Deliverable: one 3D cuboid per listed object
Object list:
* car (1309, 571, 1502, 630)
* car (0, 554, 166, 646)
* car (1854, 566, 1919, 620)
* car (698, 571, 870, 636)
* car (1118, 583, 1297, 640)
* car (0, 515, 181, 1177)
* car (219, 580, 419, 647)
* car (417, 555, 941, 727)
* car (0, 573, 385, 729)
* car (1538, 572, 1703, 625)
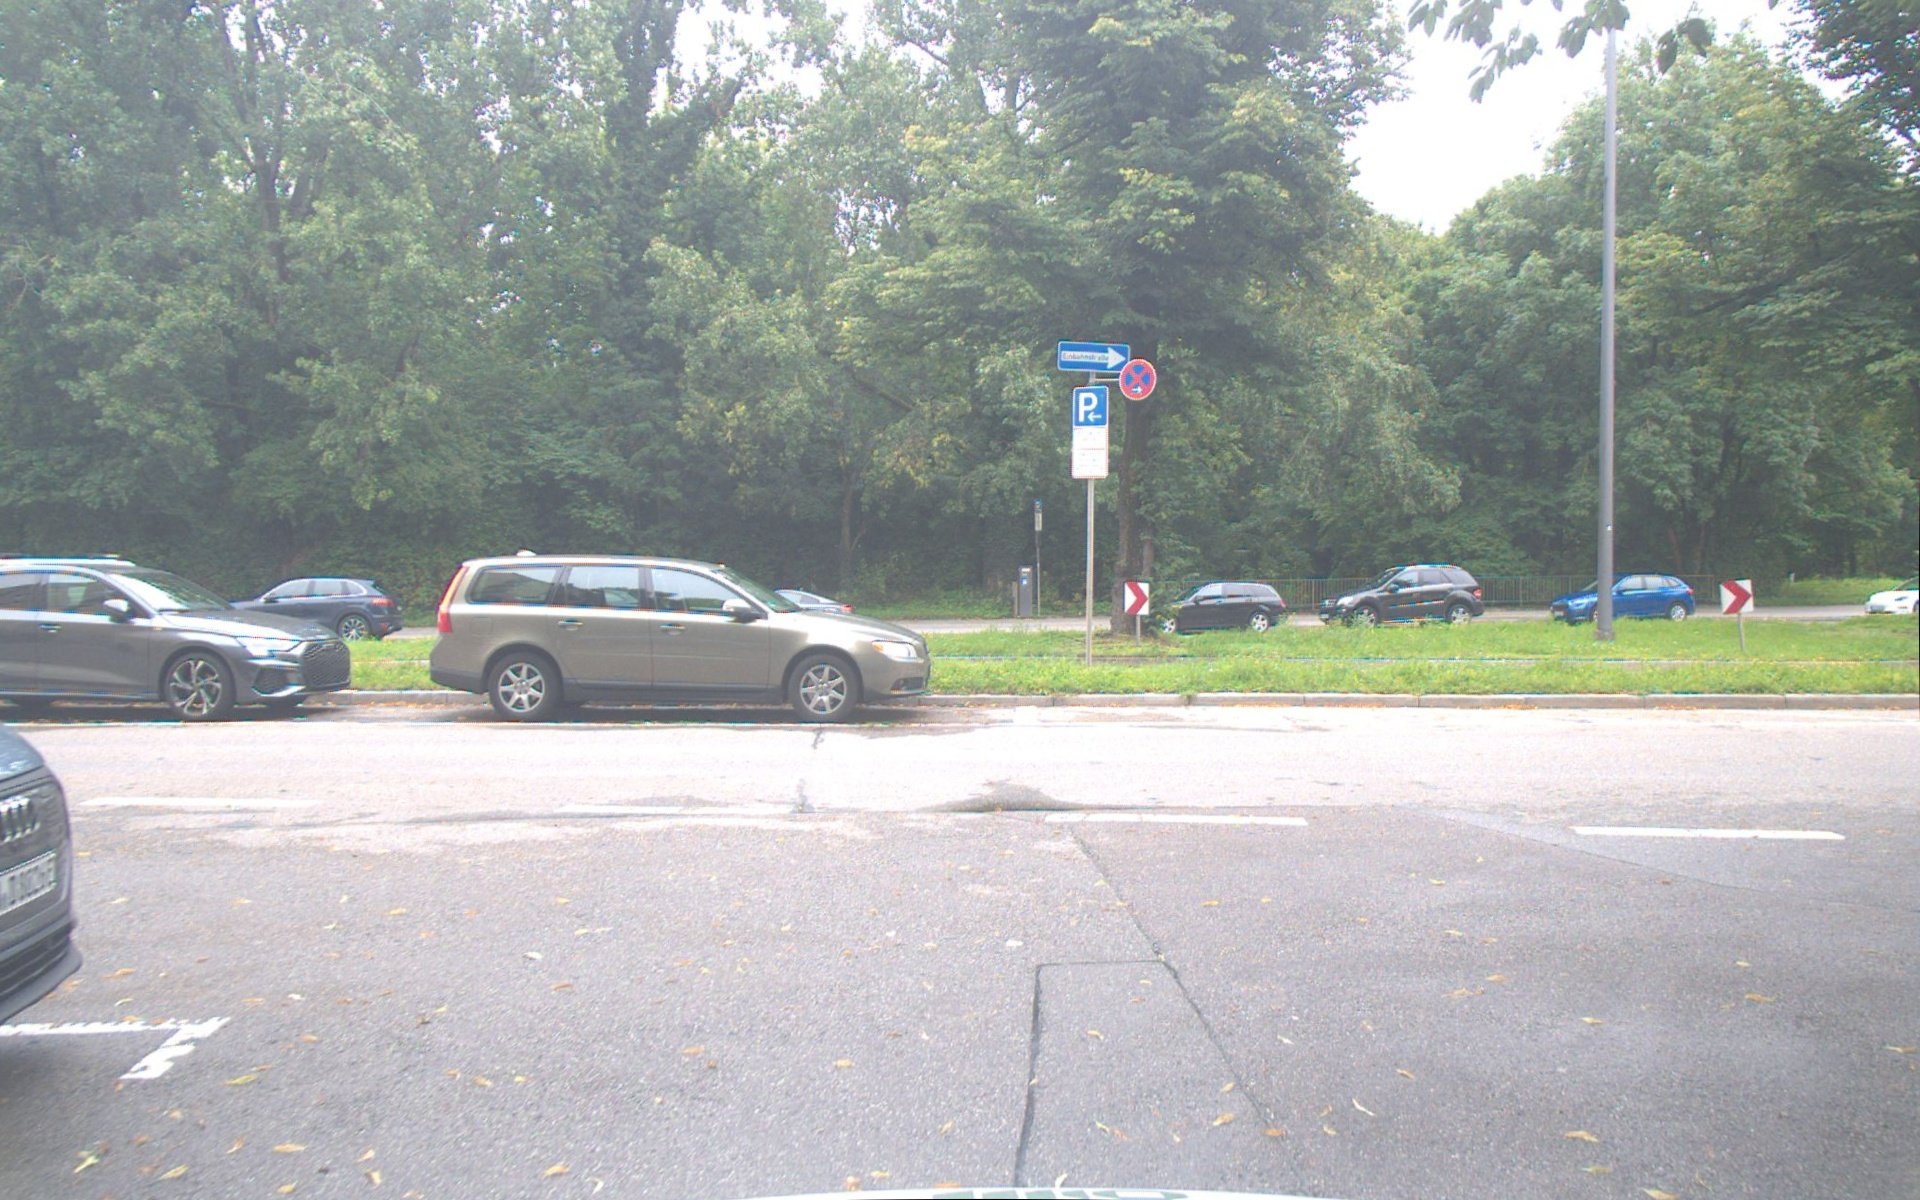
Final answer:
[{"bbox_3d":[12.597,-0.005,46.828,4.943,1.593,1.993,0,0,-14],"label":"car"},{"bbox_3d":[-17.890,0.000,31.689,4.422,1.697,1.928,0,0,-10],"label":"car"},{"bbox_3d":[30.368,-0.235,51.456,4.428,1.606,1.924,0,0,-15],"label":"car"},{"bbox_3d":[-4.585,0.075,43.133,4.350,1.606,1.929,0,0,-8],"label":"car"},{"bbox_3d":[6.813,0.295,45.669,4.503,1.497,1.925,0,0,-14],"label":"car"},{"bbox_3d":[-4.427,0.622,4.136,4.081,1.629,1.734,-1,2,-6],"label":"car"},{"bbox_3d":[-16.023,0.312,41.560,4.353,1.606,1.928,0,0,-10],"label":"car"},{"bbox_3d":[-2.561,0.361,15.932,4.703,1.522,1.842,0,1,0],"label":"car"},{"bbox_3d":[-7.979,0.459,15.887,4.256,1.404,1.771,0,0,3],"label":"car"},{"bbox_3d":[19.424,-0.060,48.718,4.191,1.497,1.925,0,0,-13],"label":"car"}]
